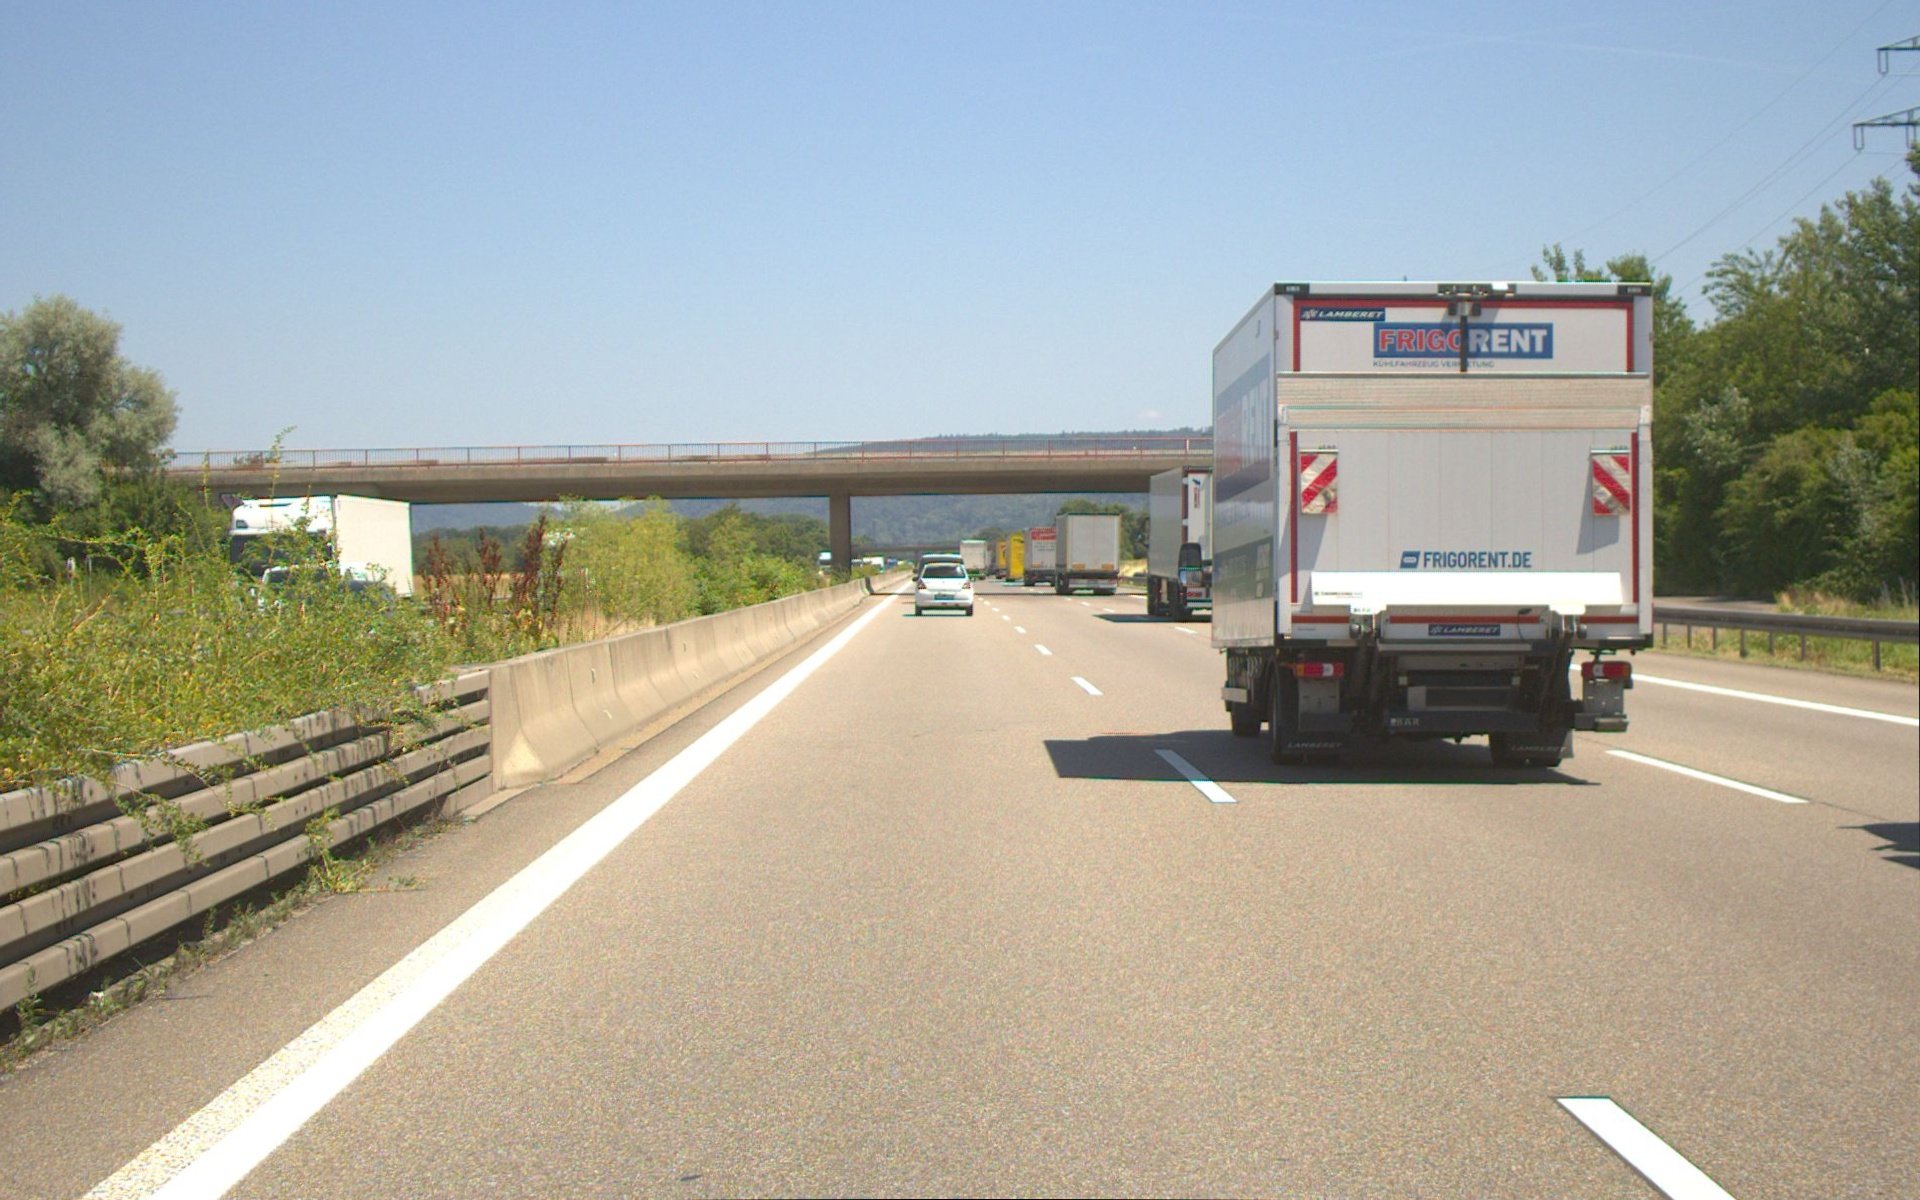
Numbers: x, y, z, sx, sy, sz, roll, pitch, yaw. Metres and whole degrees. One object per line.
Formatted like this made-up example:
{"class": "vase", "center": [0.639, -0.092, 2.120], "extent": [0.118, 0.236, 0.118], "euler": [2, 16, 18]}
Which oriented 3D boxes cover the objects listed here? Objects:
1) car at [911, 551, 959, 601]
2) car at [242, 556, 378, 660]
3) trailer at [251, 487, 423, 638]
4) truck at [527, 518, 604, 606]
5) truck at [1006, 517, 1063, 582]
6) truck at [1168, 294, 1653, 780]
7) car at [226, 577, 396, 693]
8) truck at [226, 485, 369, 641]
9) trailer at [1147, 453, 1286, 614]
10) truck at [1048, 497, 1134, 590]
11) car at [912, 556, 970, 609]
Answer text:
{"class": "car", "center": [-0.953, -0.946, 131.715], "extent": [1.761, 1.844, 4.000], "euler": [-1, 1, 1]}
{"class": "car", "center": [-13.316, 0.128, 70.678], "extent": [1.882, 1.980, 4.739], "euler": [-3, 1, -1]}
{"class": "trailer", "center": [-17.883, -1.103, 99.531], "extent": [2.694, 4.001, 12.968], "euler": [-2, 1, -1]}
{"class": "truck", "center": [-18.441, -1.773, 160.955], "extent": [2.834, 3.925, 5.824], "euler": [-2, 1, 0]}
{"class": "truck", "center": [5.176, -3.528, 241.863], "extent": [3.520, 4.401, 14.592], "euler": [-1, 1, 0]}
{"class": "truck", "center": [3.383, -0.477, 27.988], "extent": [2.782, 3.361, 8.128], "euler": [0, 1, 0]}
{"class": "car", "center": [-9.597, 0.482, 51.069], "extent": [1.767, 1.574, 3.818], "euler": [-2, 1, 0]}
{"class": "truck", "center": [-17.769, -1.008, 92.545], "extent": [2.680, 4.001, 5.756], "euler": [-2, 1, -1]}
{"class": "trailer", "center": [7.001, -1.801, 95.739], "extent": [2.795, 4.149, 13.956], "euler": [0, 1, 0]}
{"class": "truck", "center": [6.474, -2.801, 172.023], "extent": [3.520, 4.401, 14.592], "euler": [-1, 1, 0]}
{"class": "car", "center": [-0.533, -0.511, 100.008], "extent": [1.607, 1.462, 4.000], "euler": [-1, 1, 1]}
